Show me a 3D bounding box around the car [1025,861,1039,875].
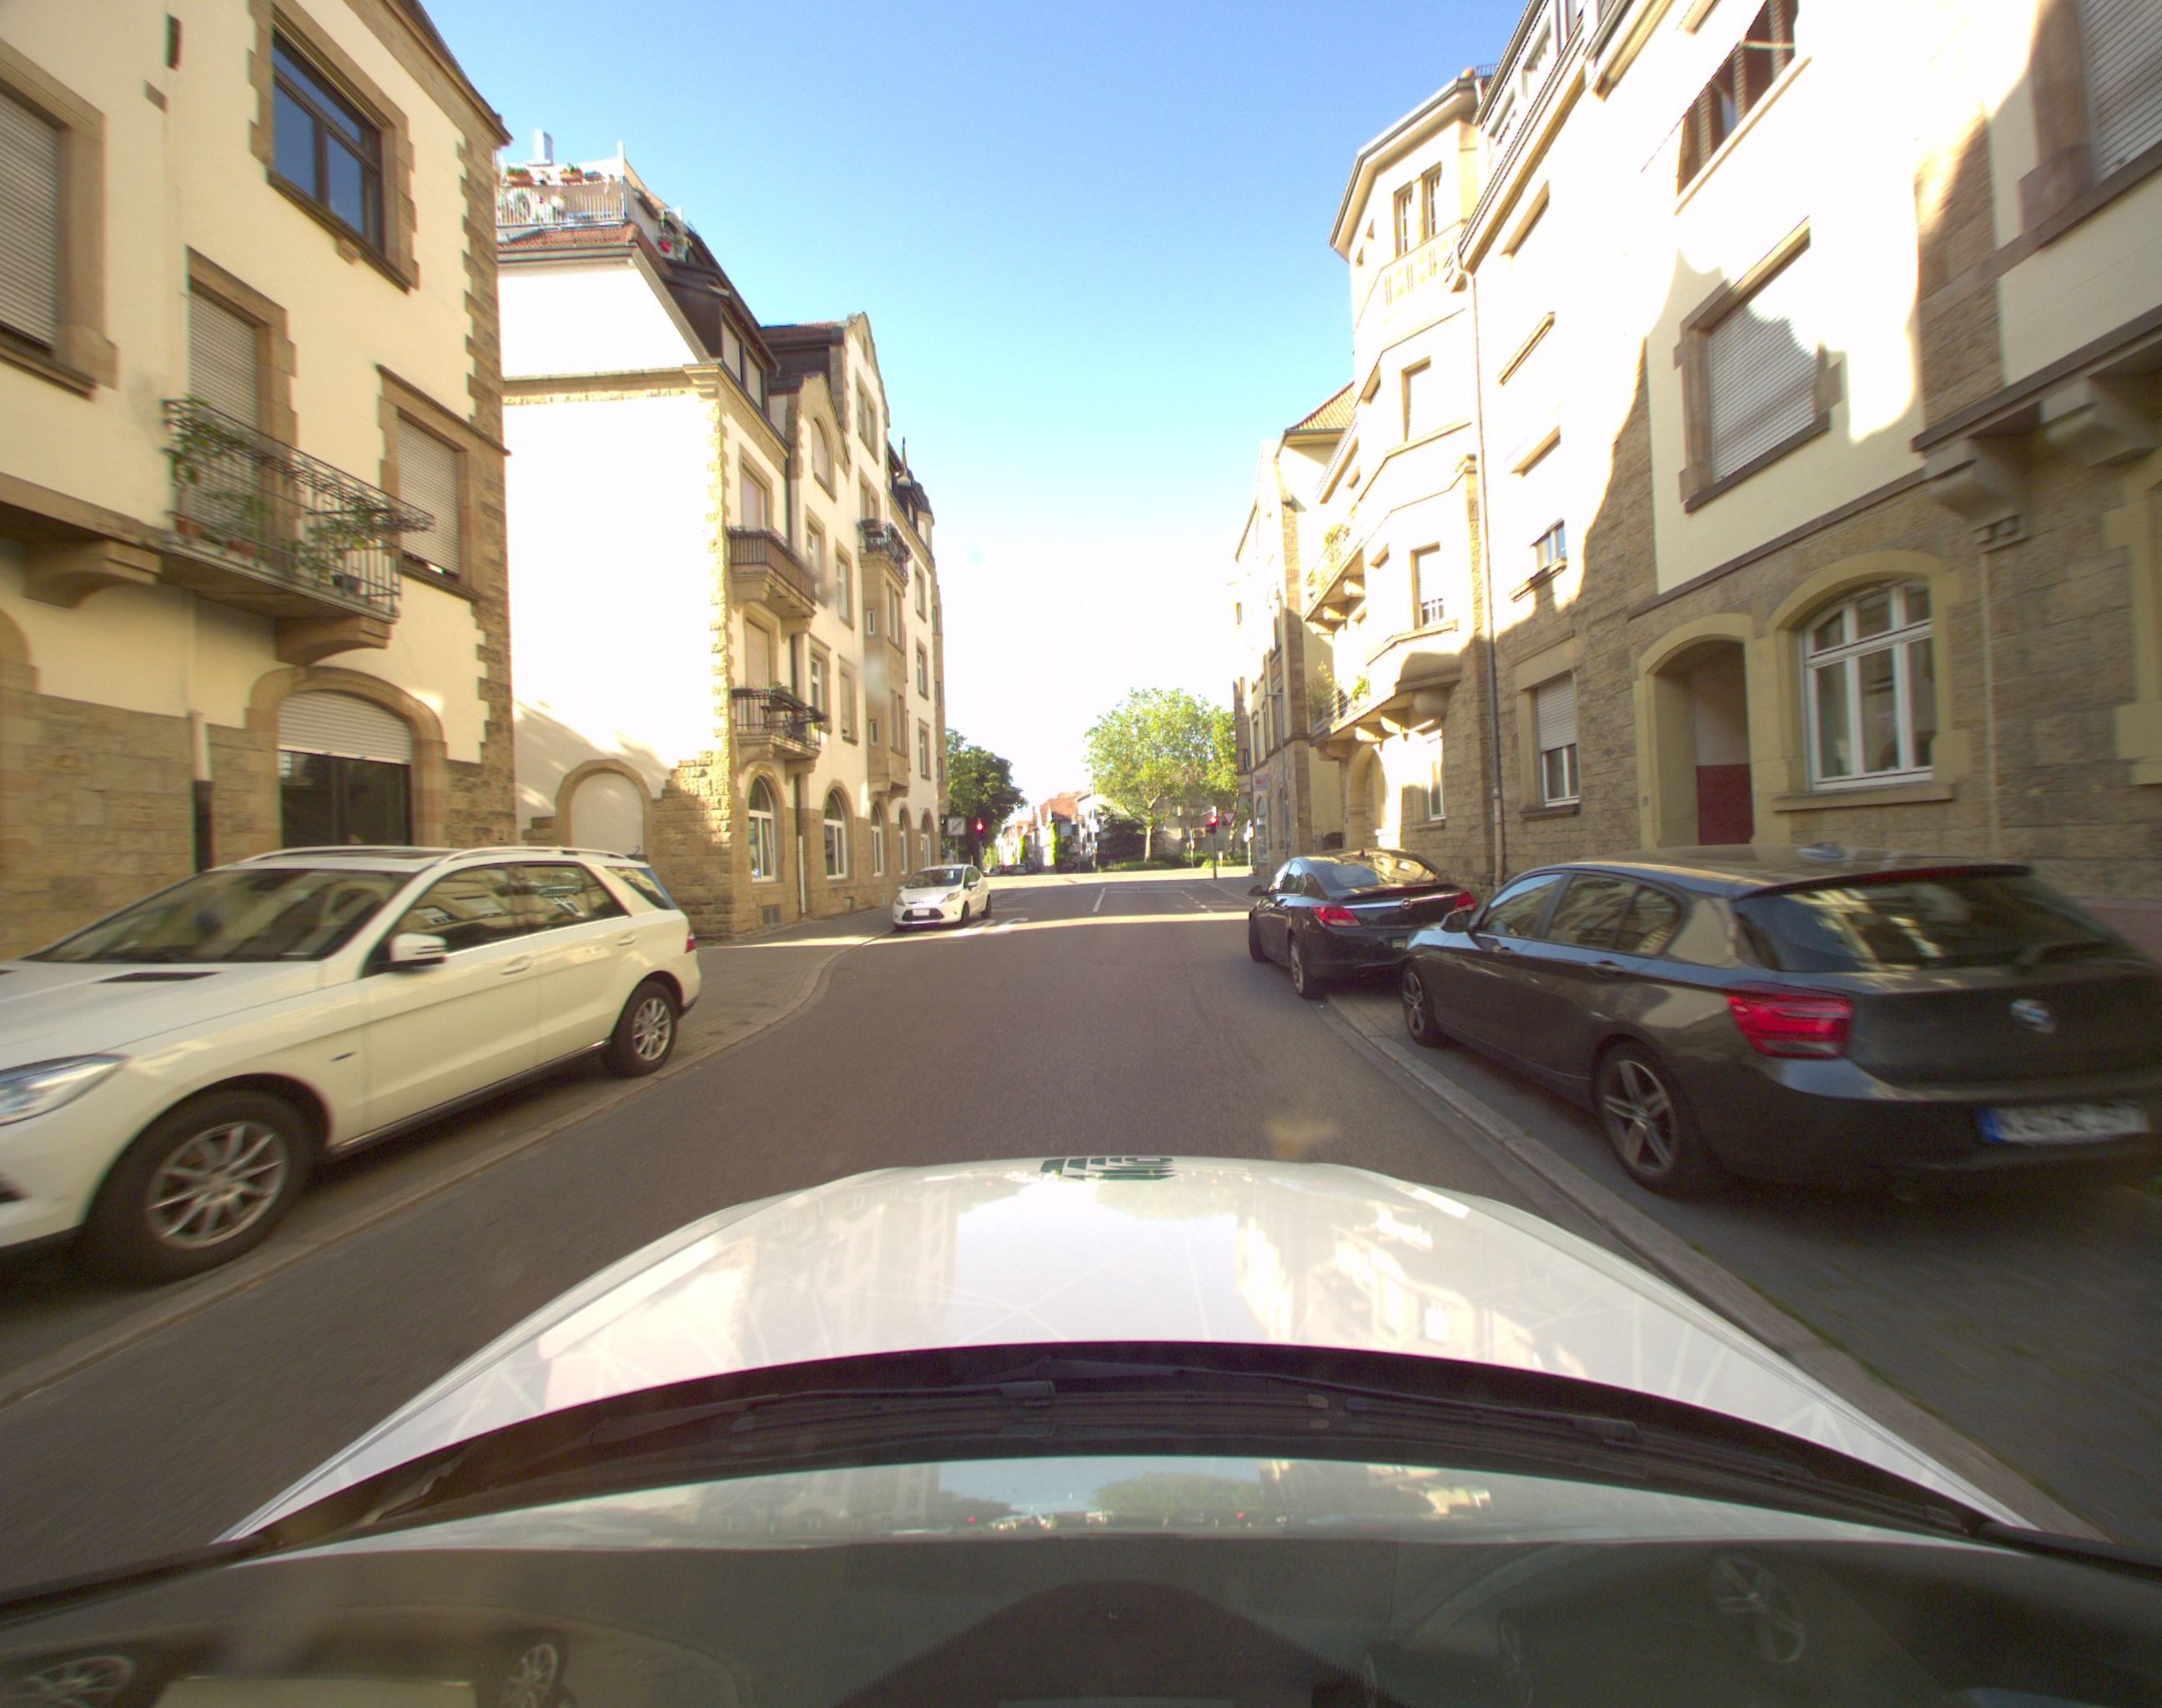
[{"bbox_3d":[-7.413,2.131,123.452,1.990,2.013,3.993,-3,0,-5],"label":"car"}]

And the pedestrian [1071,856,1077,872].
[{"bbox_3d":[-0.737,1.067,88.272,0.631,1.750,0.659,-1,-1,0],"label":"pedestrian"}]

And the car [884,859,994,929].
[{"bbox_3d":[-3.345,0.904,19.897,1.626,1.464,3.740,-2,0,6],"label":"car"}]

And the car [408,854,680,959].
[{"bbox_3d":[-10.295,0.966,15.849,3.953,1.728,1.910,-3,0,2],"label":"car"}]

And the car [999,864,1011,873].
[{"bbox_3d":[-13.037,2.516,139.044,1.737,1.336,3.822,-3,0,-9],"label":"car"}]

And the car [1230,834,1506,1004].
[{"bbox_3d":[3.011,0.590,9.609,1.858,1.462,4.342,-3,0,3],"label":"car"}]

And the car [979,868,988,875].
[{"bbox_3d":[-24.379,4.350,203.454,1.994,1.445,3.986,-3,0,-10],"label":"car"}]

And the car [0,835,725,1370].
[{"bbox_3d":[-4.261,0.792,4.884,1.883,1.722,4.731,0,0,4],"label":"car"}]

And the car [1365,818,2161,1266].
[{"bbox_3d":[3.225,0.629,4.878,1.645,1.442,4.261,-3,0,2],"label":"car"}]

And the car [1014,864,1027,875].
[{"bbox_3d":[-8.493,2.112,113.984,1.672,1.483,3.512,-1,-1,-7],"label":"car"}]
